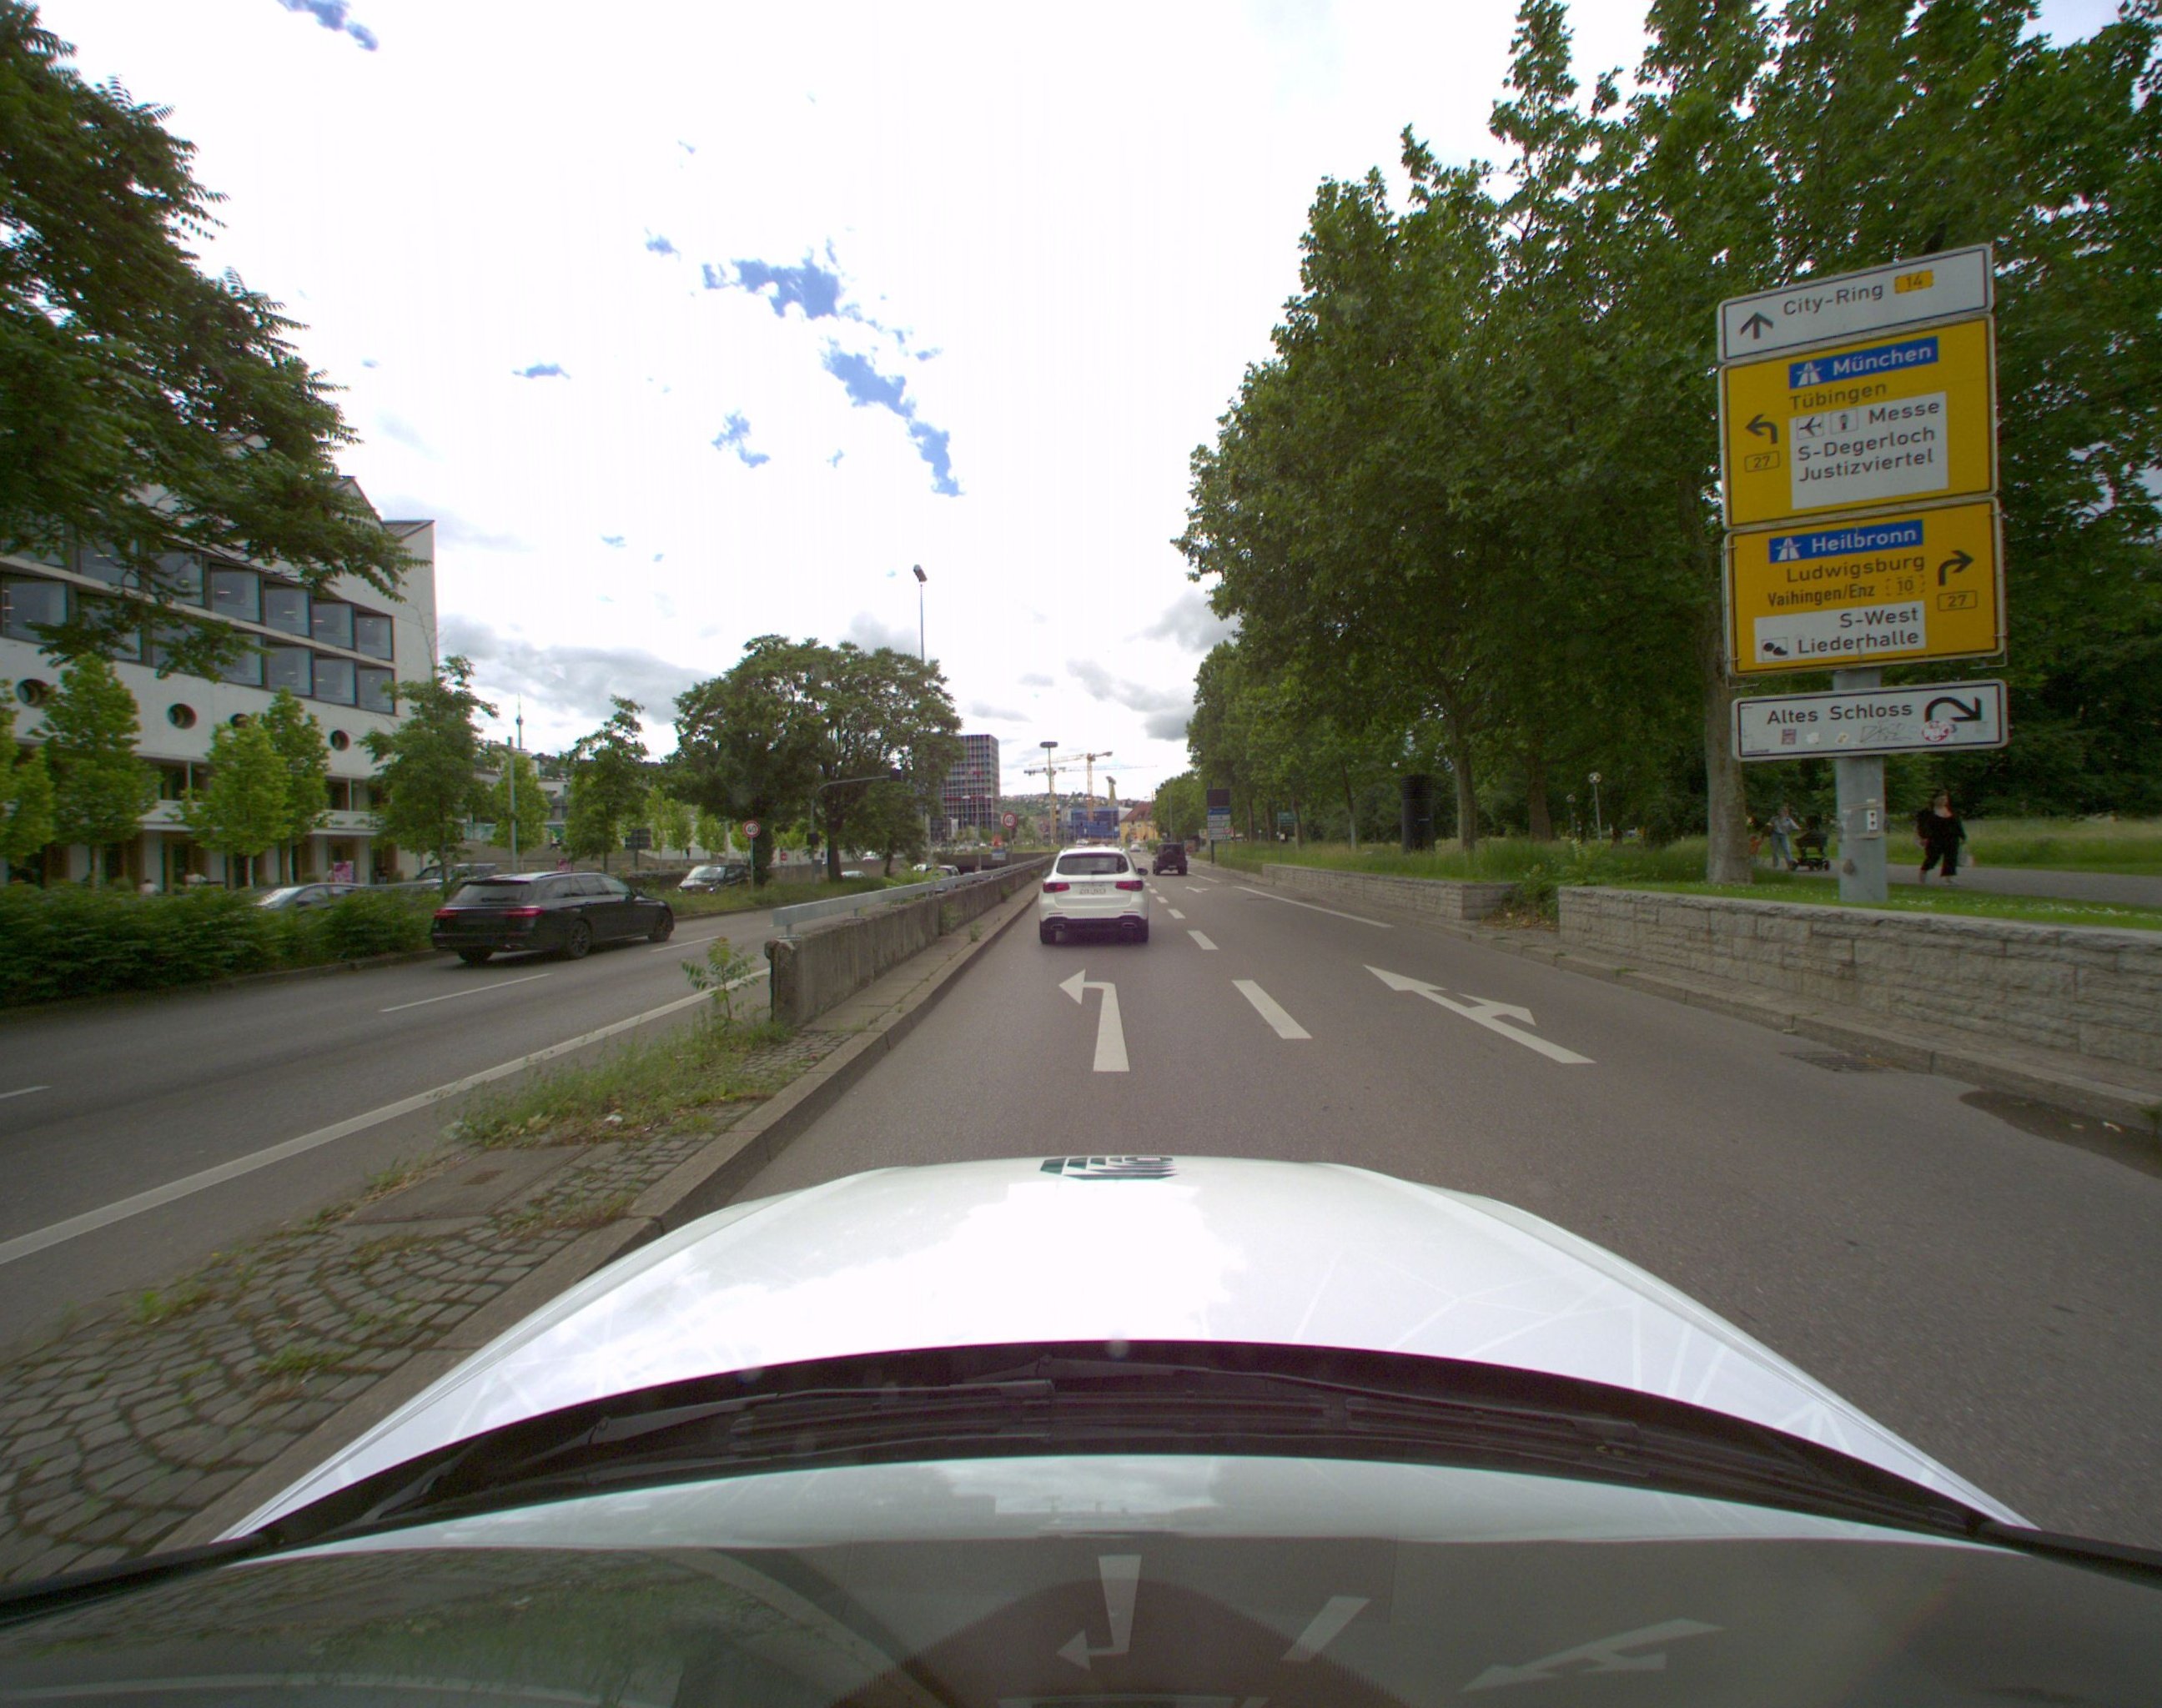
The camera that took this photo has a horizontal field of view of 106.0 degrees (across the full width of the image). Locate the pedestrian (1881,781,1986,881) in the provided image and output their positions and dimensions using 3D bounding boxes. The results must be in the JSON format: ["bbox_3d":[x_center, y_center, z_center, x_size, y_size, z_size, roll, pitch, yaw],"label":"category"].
[{"bbox_3d":[15.417,-0.404,14.755,0.893,1.732,0.969,1,0,1],"label":"pedestrian"}]

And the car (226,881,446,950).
[{"bbox_3d":[-18.653,1.476,20.679,1.749,1.462,4.002,1,-1,2],"label":"car"}]

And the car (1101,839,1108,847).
[{"bbox_3d":[6.507,-3.112,223.495,1.794,2.014,3.999,1,-1,0],"label":"car"}]

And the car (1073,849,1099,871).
[{"bbox_3d":[0.382,0.412,61.870,1.916,1.602,3.999,0,0,0],"label":"car"}]

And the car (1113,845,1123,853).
[{"bbox_3d":[7.164,-0.914,158.070,1.714,1.584,3.998,1,0,-1],"label":"car"}]

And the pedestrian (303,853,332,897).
[{"bbox_3d":[-35.169,0.951,37.518,0.630,2.014,0.630,1,-1,1],"label":"pedestrian"}]

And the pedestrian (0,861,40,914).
[{"bbox_3d":[-41.641,1.320,31.956,0.630,2.013,0.630,-5,-1,1],"label":"pedestrian"}]

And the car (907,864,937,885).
[{"bbox_3d":[-16.653,2.140,85.606,1.968,2.165,6.212,0,-1,0],"label":"car"}]

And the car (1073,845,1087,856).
[{"bbox_3d":[-0.118,-0.528,128.426,1.986,1.757,4.001,1,-1,2],"label":"car"}]

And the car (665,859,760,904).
[{"bbox_3d":[-15.898,1.151,35.399,1.849,1.717,4.449,-2,0,3],"label":"car"}]

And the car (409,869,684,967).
[{"bbox_3d":[-9.304,1.015,14.807,1.807,1.460,4.861,0,-1,-1],"label":"car"}]

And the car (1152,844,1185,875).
[{"bbox_3d":[5.478,0.361,51.511,1.968,1.893,4.713,1,-1,5],"label":"car"}]

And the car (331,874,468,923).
[{"bbox_3d":[-28.234,1.807,33.952,1.850,1.717,4.447,-2,0,1],"label":"car"}]

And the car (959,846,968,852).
[{"bbox_3d":[-27.633,-1.234,191.570,1.829,1.360,3.861,1,-1,-5],"label":"car"}]

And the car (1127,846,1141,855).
[{"bbox_3d":[10.284,-0.691,158.243,1.990,1.618,3.994,1,-1,-4],"label":"car"}]

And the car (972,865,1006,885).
[{"bbox_3d":[-6.461,1.433,57.656,1.712,1.292,4.003,1,0,3],"label":"car"}]

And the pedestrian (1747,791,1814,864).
[{"bbox_3d":[18.283,-0.669,21.318,0.989,1.836,1.034,0,-1,17],"label":"pedestrian"}]

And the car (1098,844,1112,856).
[{"bbox_3d":[3.647,-0.592,124.412,1.987,1.781,3.999,1,-1,0],"label":"car"}]

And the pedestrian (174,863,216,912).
[{"bbox_3d":[-38.464,1.433,35.357,0.708,2.013,0.739,-10,-1,1],"label":"pedestrian"}]

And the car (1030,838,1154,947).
[{"bbox_3d":[0.174,0.646,15.106,1.935,1.684,3.999,-2,-1,0],"label":"car"}]

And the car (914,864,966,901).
[{"bbox_3d":[-6.064,1.194,35.428,1.622,1.509,3.539,0,-1,0],"label":"car"}]

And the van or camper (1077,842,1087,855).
[{"bbox_3d":[0.170,-0.959,150.518,1.916,2.320,3.999,0,-2,0],"label":"van or camper"}]

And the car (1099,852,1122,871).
[{"bbox_3d":[2.623,0.672,73.275,1.916,1.602,3.999,0,0,0],"label":"car"}]

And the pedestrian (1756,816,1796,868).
[{"bbox_3d":[18.271,-0.304,21.409,0.580,1.325,0.542,1,-2,1],"label":"pedestrian"}]

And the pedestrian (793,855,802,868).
[{"bbox_3d":[-35.640,0.936,102.403,0.732,1.640,1.005,-1,0,0],"label":"pedestrian"}]

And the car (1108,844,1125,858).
[{"bbox_3d":[4.506,-0.333,104.883,1.987,1.662,3.999,1,-1,0],"label":"car"}]

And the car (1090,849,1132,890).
[{"bbox_3d":[1.261,0.679,34.793,1.666,1.628,4.000,1,-1,1],"label":"car"}]

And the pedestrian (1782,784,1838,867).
[{"bbox_3d":[18.122,-0.691,20.275,0.568,2.014,0.933,1,-1,1],"label":"pedestrian"}]
